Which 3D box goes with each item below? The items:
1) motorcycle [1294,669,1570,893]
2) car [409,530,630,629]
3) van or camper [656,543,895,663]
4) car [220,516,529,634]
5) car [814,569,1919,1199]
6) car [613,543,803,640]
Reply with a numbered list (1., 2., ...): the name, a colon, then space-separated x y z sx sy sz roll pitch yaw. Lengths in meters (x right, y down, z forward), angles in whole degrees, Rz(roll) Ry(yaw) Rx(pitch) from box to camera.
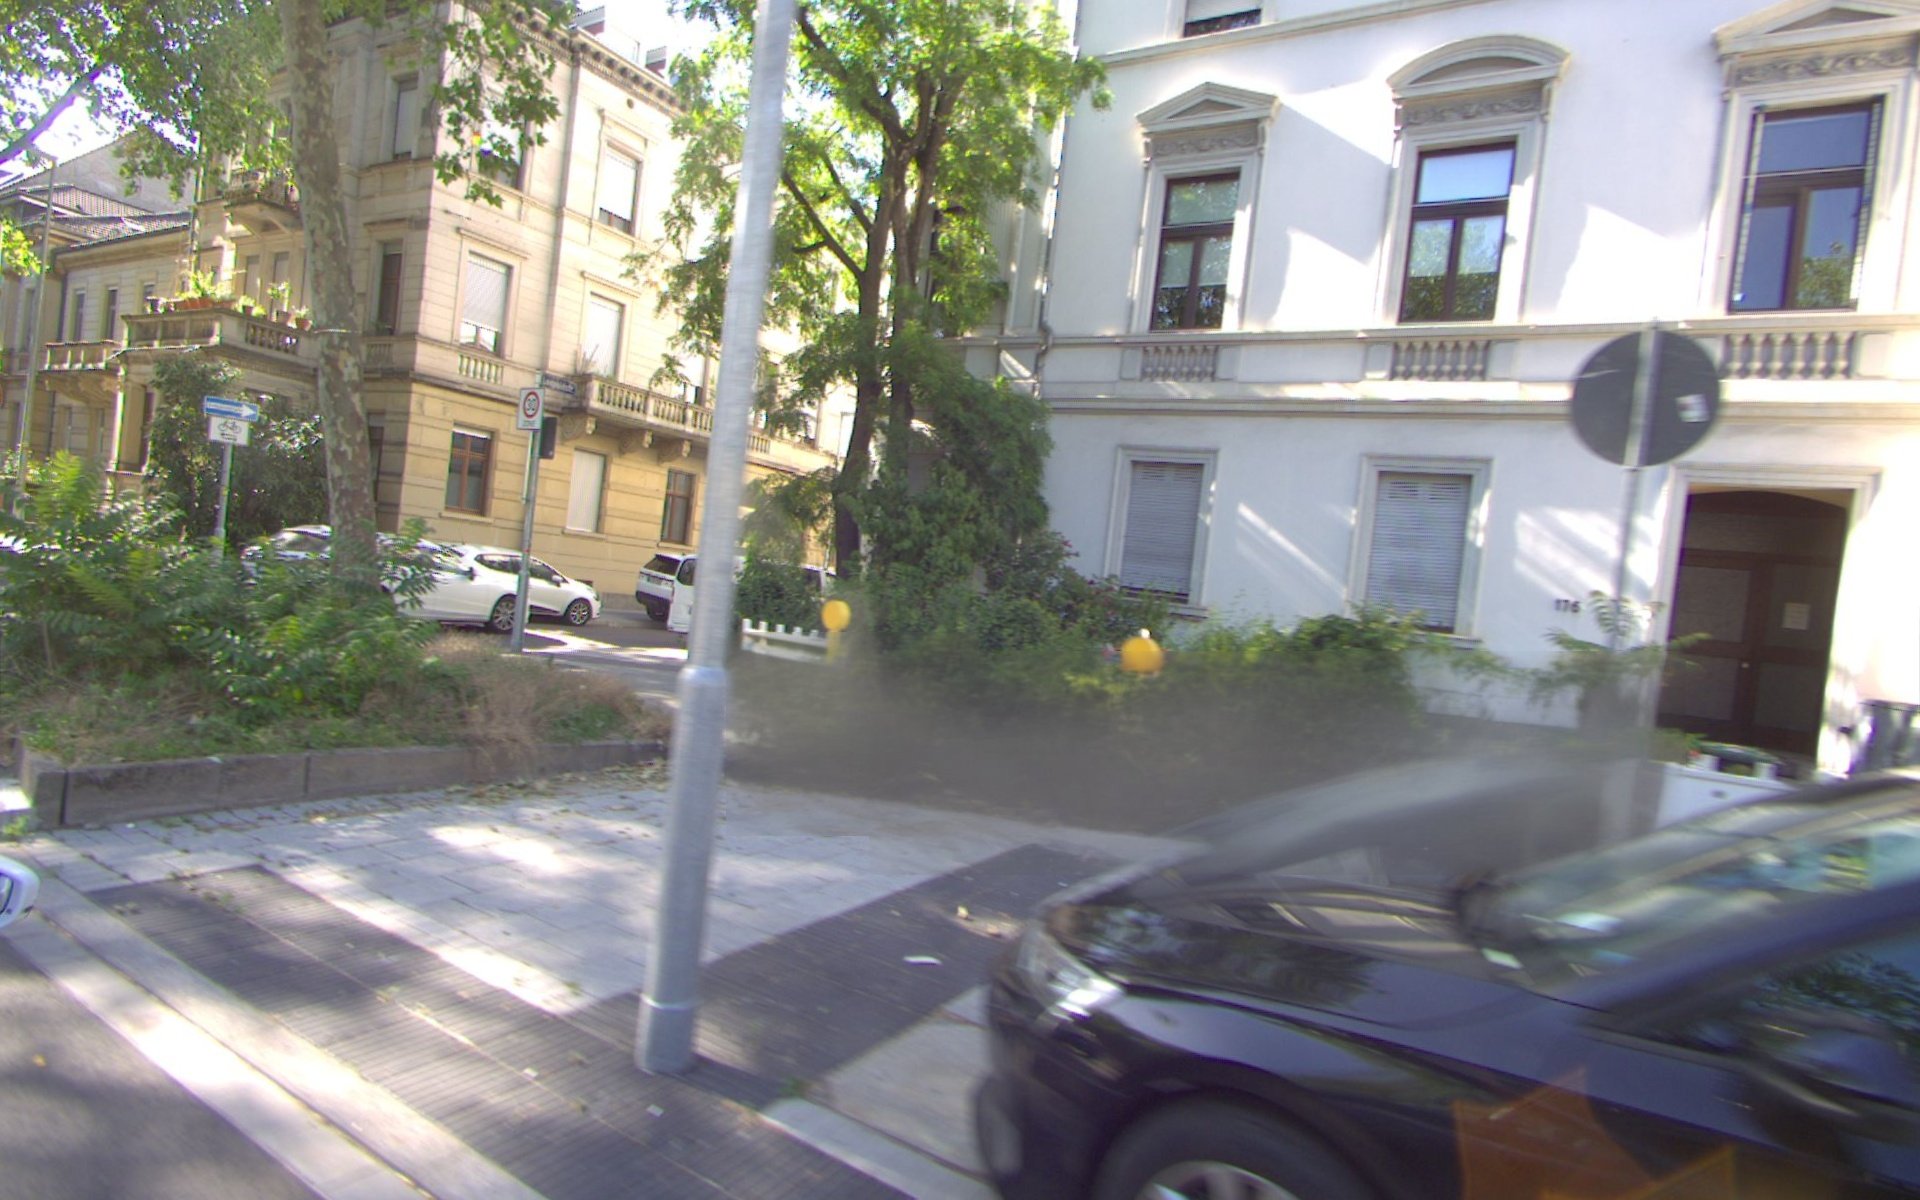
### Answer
1. motorcycle: 3.254 1.190 7.009 1.532 1.201 0.596 7 1 38
2. car: -9.510 -0.386 22.010 1.842 1.580 3.933 10 1 33
3. van or camper: -3.697 0.162 21.199 1.869 2.039 5.017 7 1 33
4. car: -9.125 -0.300 16.112 1.805 1.504 4.058 5 -1 17
5. car: 1.864 0.926 1.772 4.029 1.505 1.620 7 2 32
6. car: -6.562 -0.165 26.656 1.996 2.038 4.530 7 0 35
